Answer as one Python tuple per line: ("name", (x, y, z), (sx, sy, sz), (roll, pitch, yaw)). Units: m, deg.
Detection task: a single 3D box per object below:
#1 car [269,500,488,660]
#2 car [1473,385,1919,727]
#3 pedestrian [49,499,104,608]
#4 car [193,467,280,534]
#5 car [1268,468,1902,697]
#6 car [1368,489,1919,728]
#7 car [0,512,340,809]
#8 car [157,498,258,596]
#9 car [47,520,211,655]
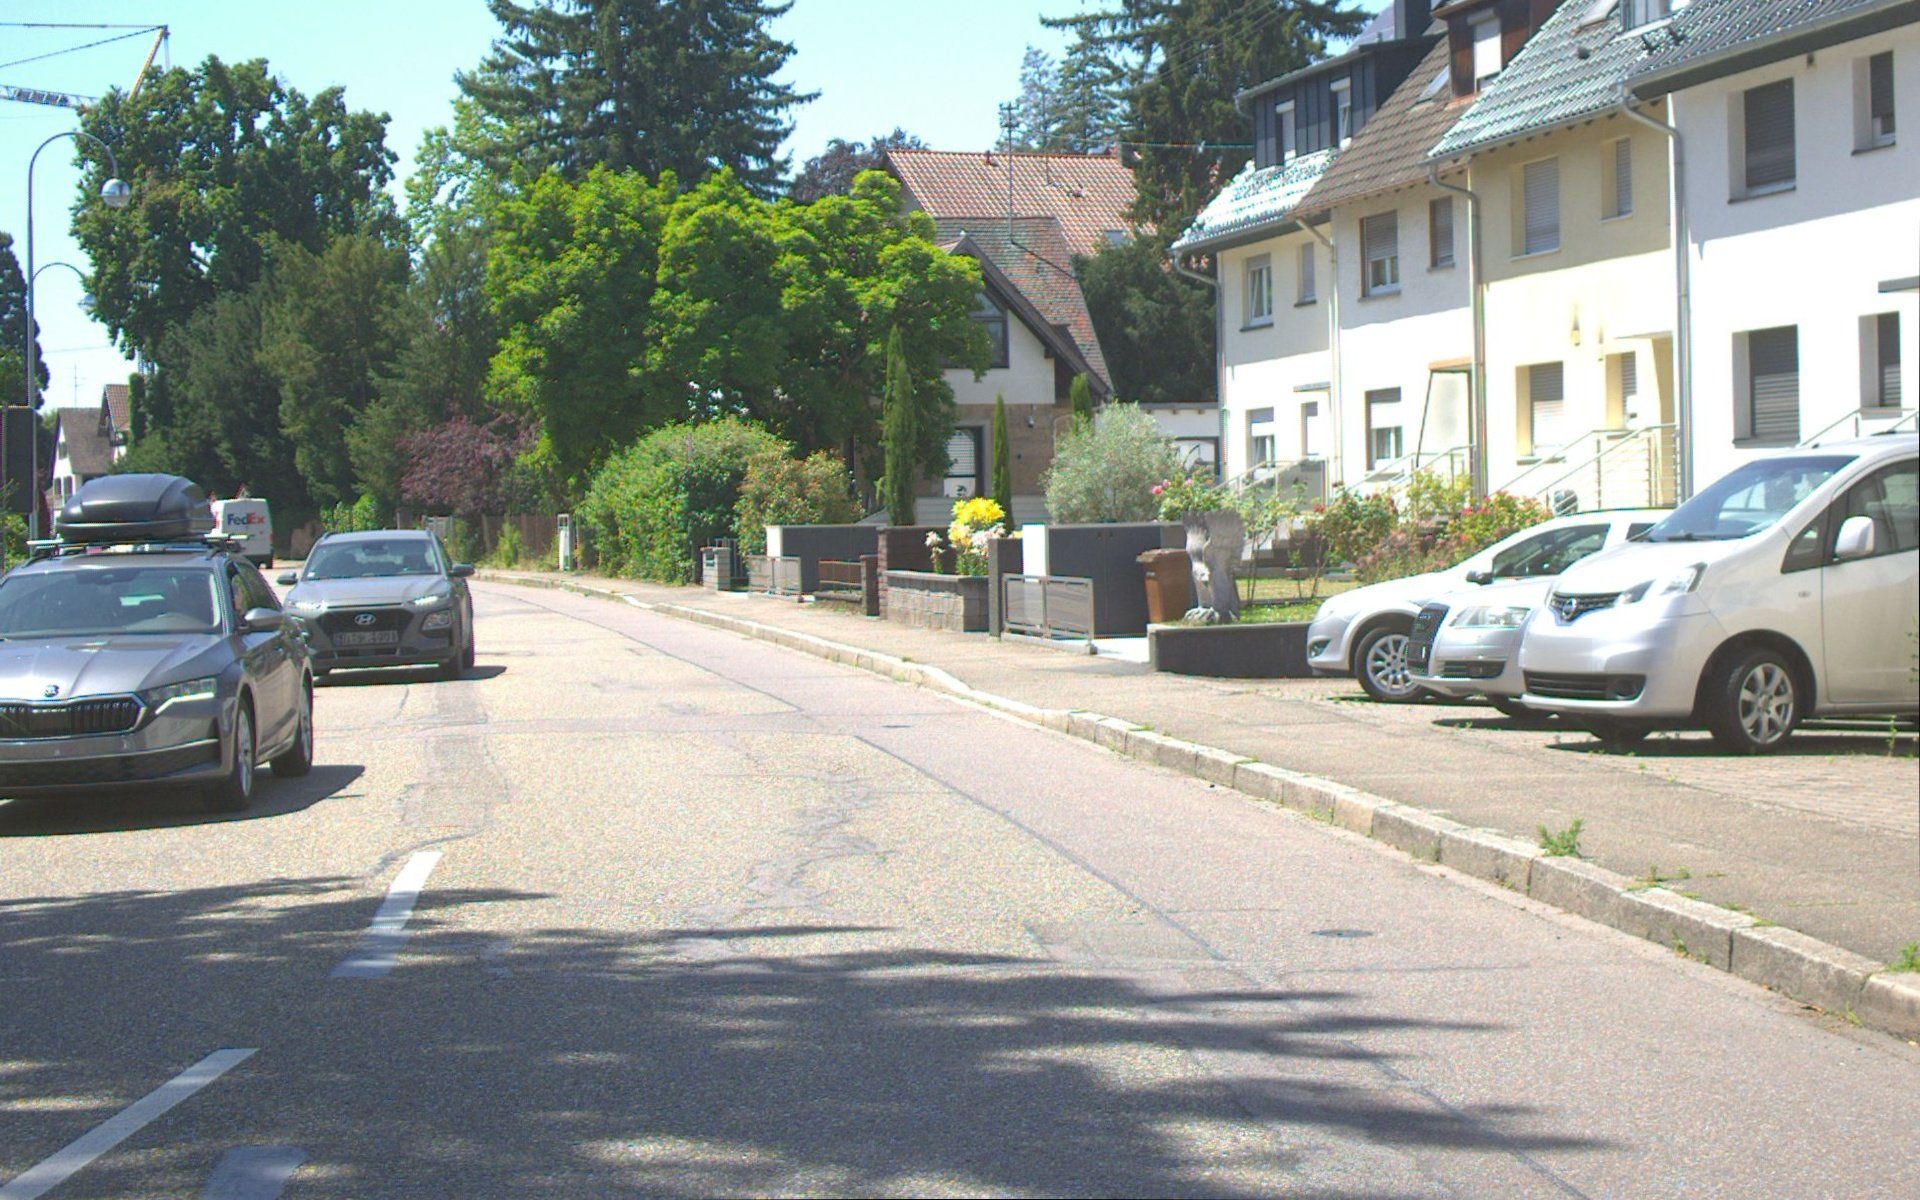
("car", (-6.038, -0.258, 36.111), (1.740, 1.500, 4.143), (-3, 2, -3))
("car", (5.359, -0.224, 20.032), (4.289, 1.824, 1.740), (2, 1, -16))
("pedestrian", (-15.780, -0.831, 61.416), (0.689, 1.883, 1.019), (4, 0, -6))
("car", (-26.654, -3.655, 126.551), (2.143, 2.307, 4.854), (-3, 3, -23))
("car", (4.629, -0.146, 25.512), (4.296, 1.542, 1.754), (2, 0, 24))
("car", (5.180, 0.059, 22.542), (4.639, 1.404, 1.769), (2, 1, -7))
("car", (-4.838, 0.272, 20.028), (1.806, 1.483, 4.387), (-3, 2, -3))
("car", (-14.423, -1.031, 65.969), (1.722, 1.730, 3.888), (-4, 2, -12))
("car", (-9.935, -0.192, 41.310), (1.578, 1.418, 3.942), (-4, 2, -10))
